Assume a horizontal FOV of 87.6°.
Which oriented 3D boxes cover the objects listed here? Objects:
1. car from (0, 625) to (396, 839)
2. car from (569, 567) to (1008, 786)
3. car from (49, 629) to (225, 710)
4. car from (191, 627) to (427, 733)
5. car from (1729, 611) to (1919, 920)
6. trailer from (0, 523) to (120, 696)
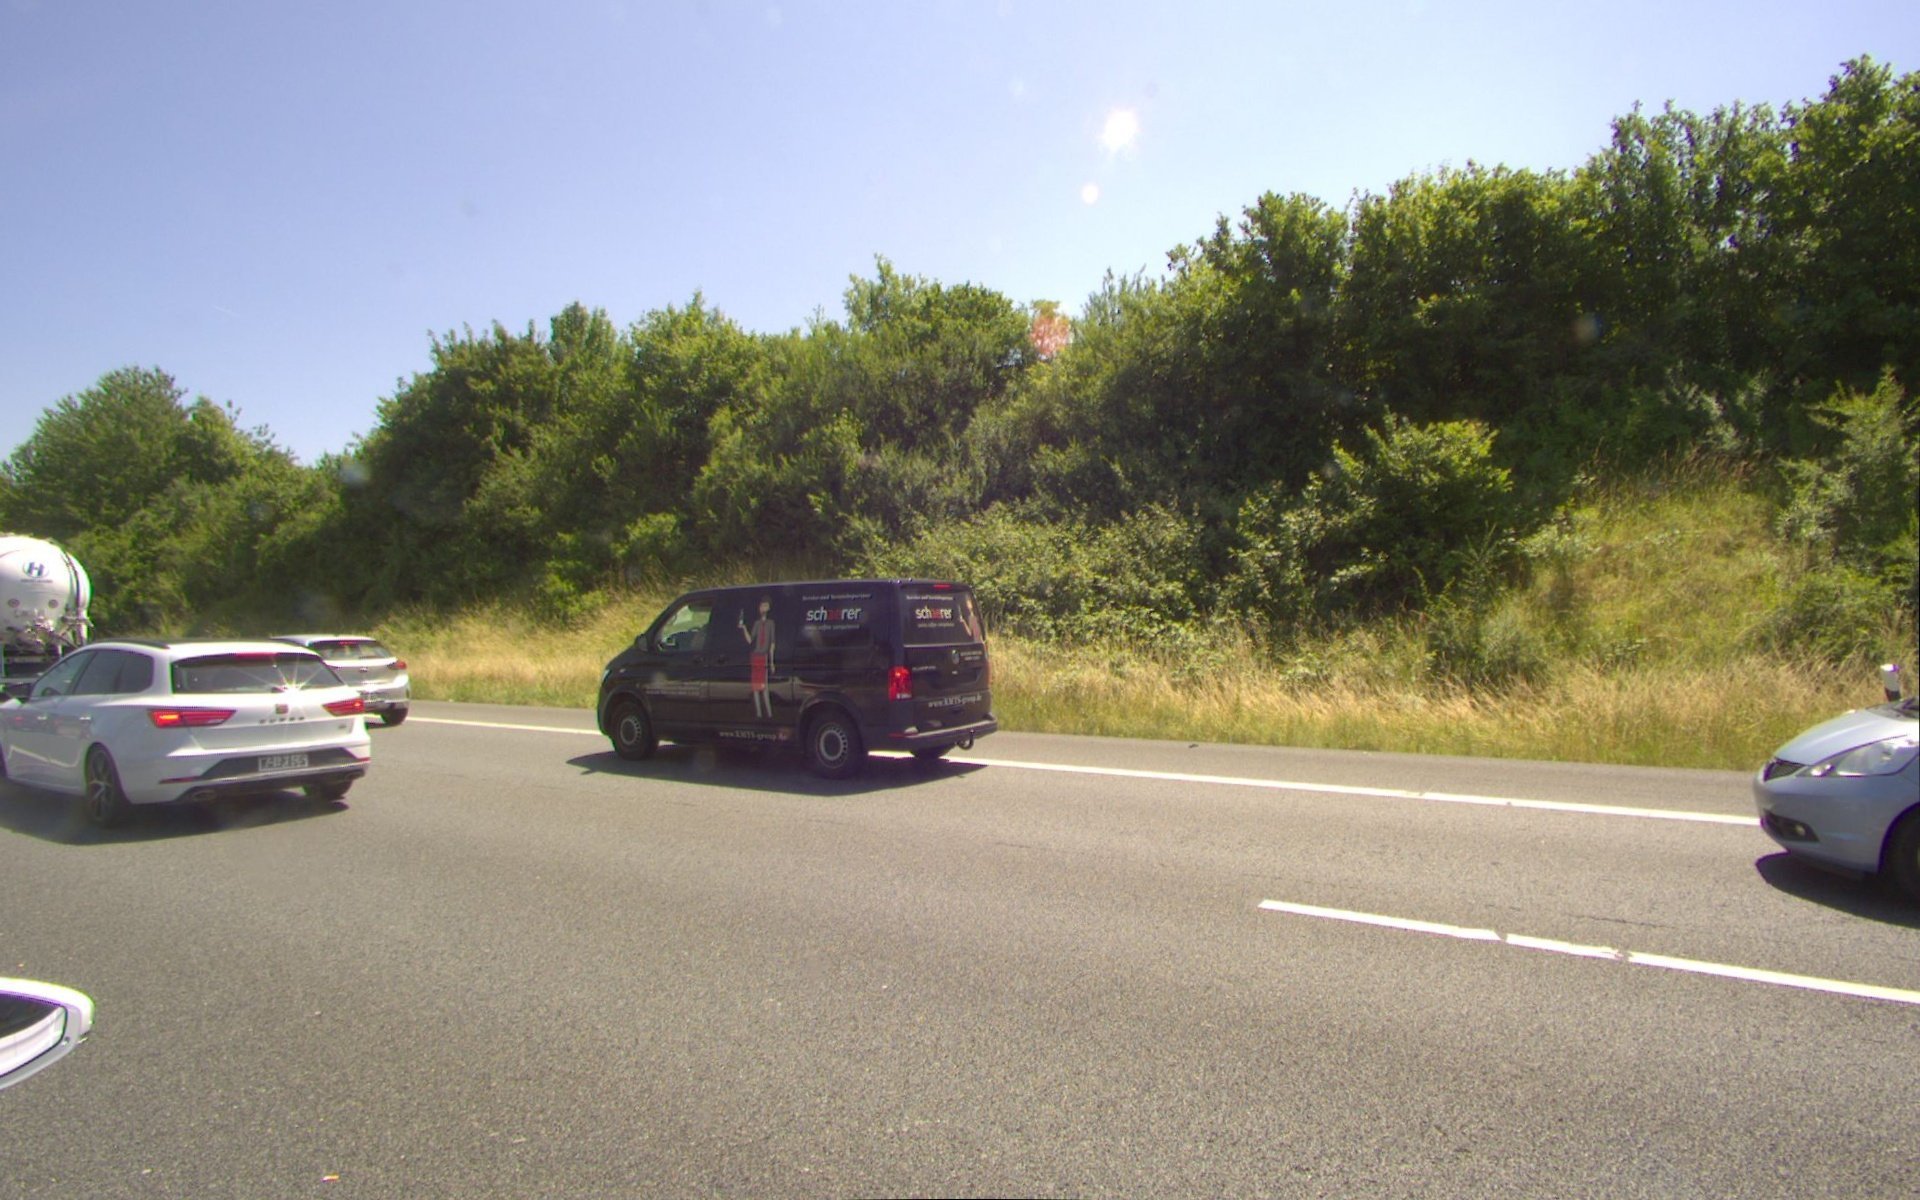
[{"bbox_3d":[-7.007,1.005,8.883,4.254,1.462,1.743,-2,-1,34],"label":"car"},{"bbox_3d":[-2.020,0.770,11.100,4.790,1.965,1.909,-2,-1,34],"label":"car"},{"bbox_3d":[-16.593,1.357,20.139,3.934,1.435,1.637,-2,0,34],"label":"car"},{"bbox_3d":[-10.538,1.199,16.149,3.971,1.462,1.727,0,0,33],"label":"car"},{"bbox_3d":[6.293,0.791,4.869,3.865,1.480,1.659,-1,0,32],"label":"car"},{"bbox_3d":[-25.913,0.329,26.193,11.323,3.895,2.755,-1,-1,32],"label":"trailer"}]
